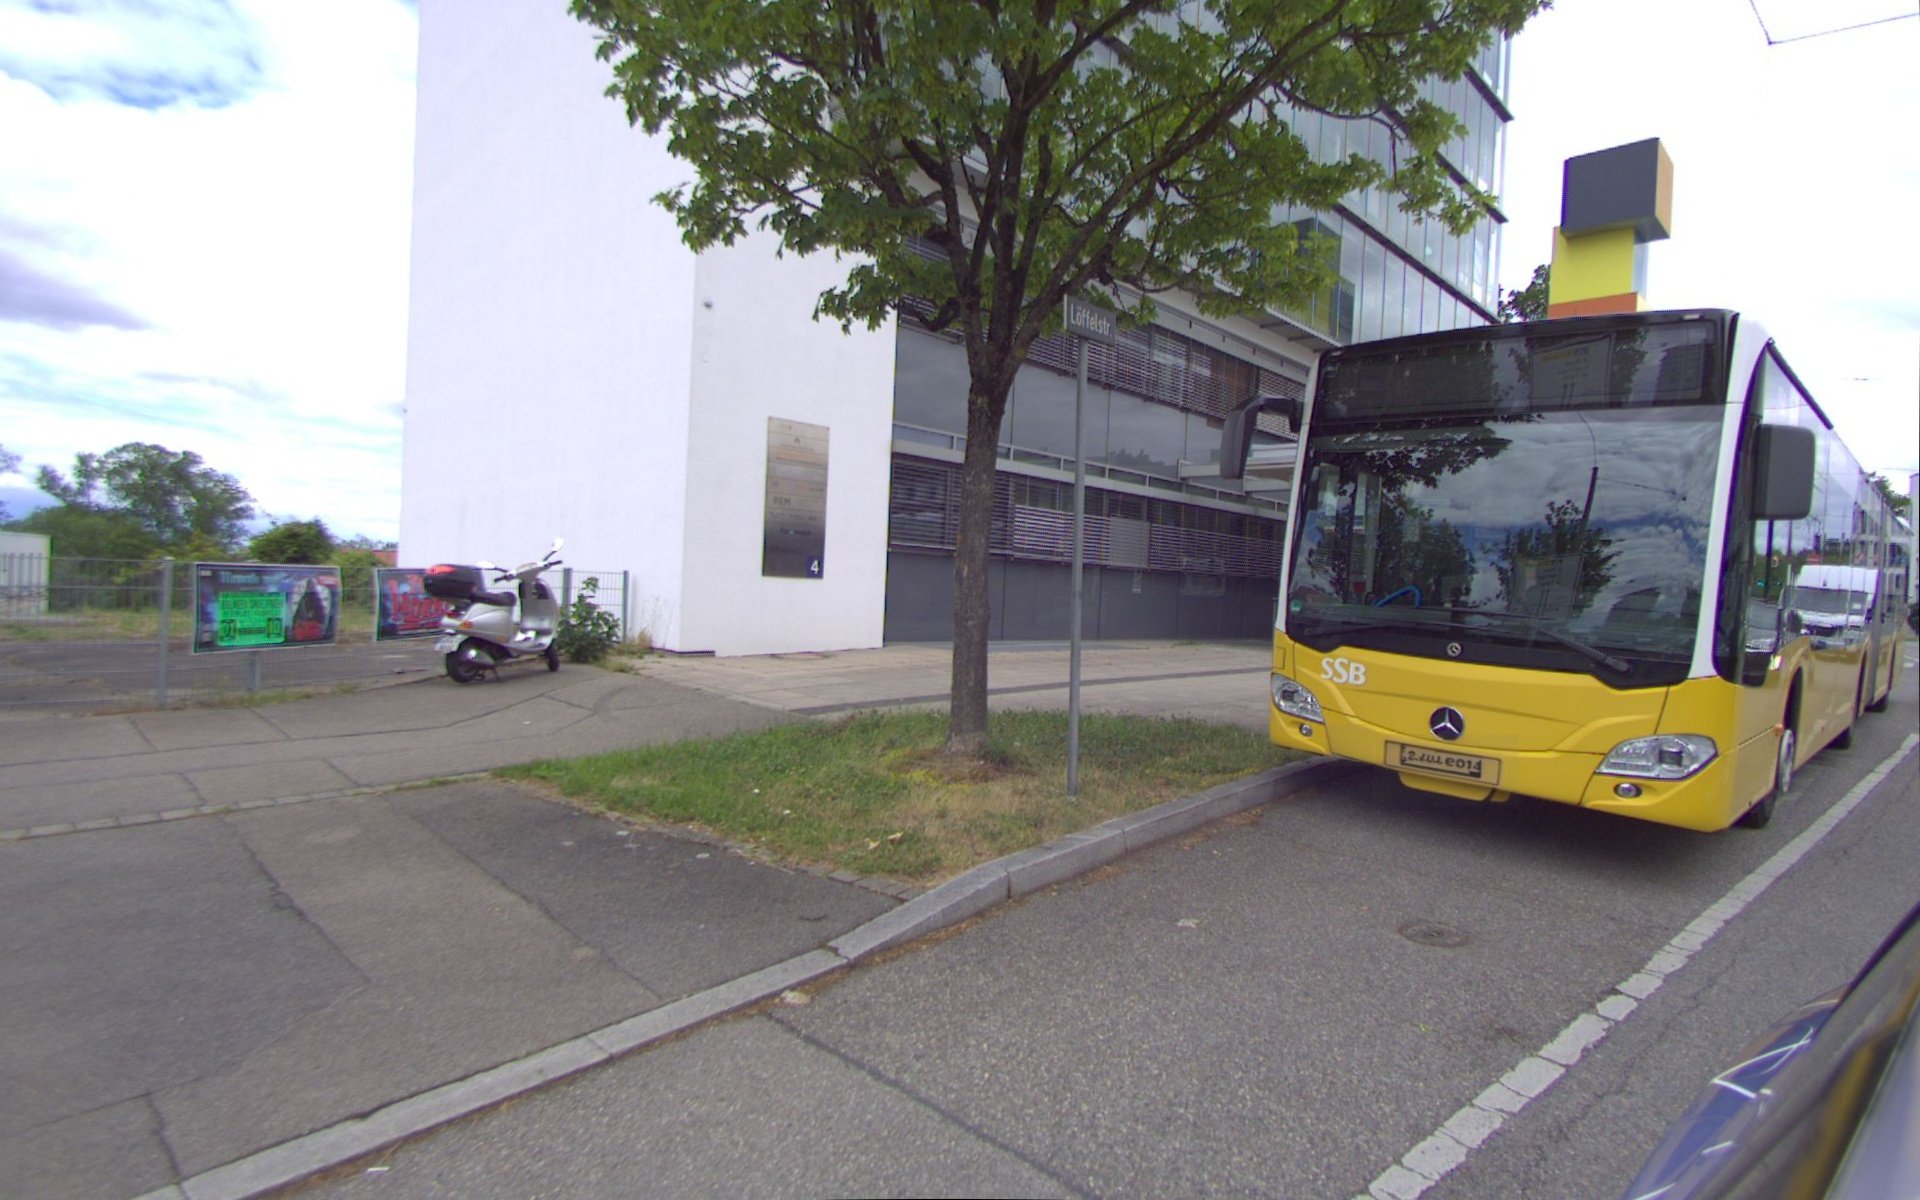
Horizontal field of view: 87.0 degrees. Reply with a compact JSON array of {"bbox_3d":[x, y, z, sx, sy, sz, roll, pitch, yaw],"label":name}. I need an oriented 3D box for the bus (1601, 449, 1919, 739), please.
[{"bbox_3d":[12.317,-0.089,15.011,8.723,3.147,2.715,1,2,-44],"label":"bus"}]

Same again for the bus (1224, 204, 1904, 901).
[{"bbox_3d":[5.952,-0.253,8.782,8.977,3.202,2.715,1,3,-44],"label":"bus"}]

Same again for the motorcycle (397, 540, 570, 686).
[{"bbox_3d":[-4.408,0.084,9.480,0.576,1.237,1.574,2,2,15],"label":"motorcycle"}]
